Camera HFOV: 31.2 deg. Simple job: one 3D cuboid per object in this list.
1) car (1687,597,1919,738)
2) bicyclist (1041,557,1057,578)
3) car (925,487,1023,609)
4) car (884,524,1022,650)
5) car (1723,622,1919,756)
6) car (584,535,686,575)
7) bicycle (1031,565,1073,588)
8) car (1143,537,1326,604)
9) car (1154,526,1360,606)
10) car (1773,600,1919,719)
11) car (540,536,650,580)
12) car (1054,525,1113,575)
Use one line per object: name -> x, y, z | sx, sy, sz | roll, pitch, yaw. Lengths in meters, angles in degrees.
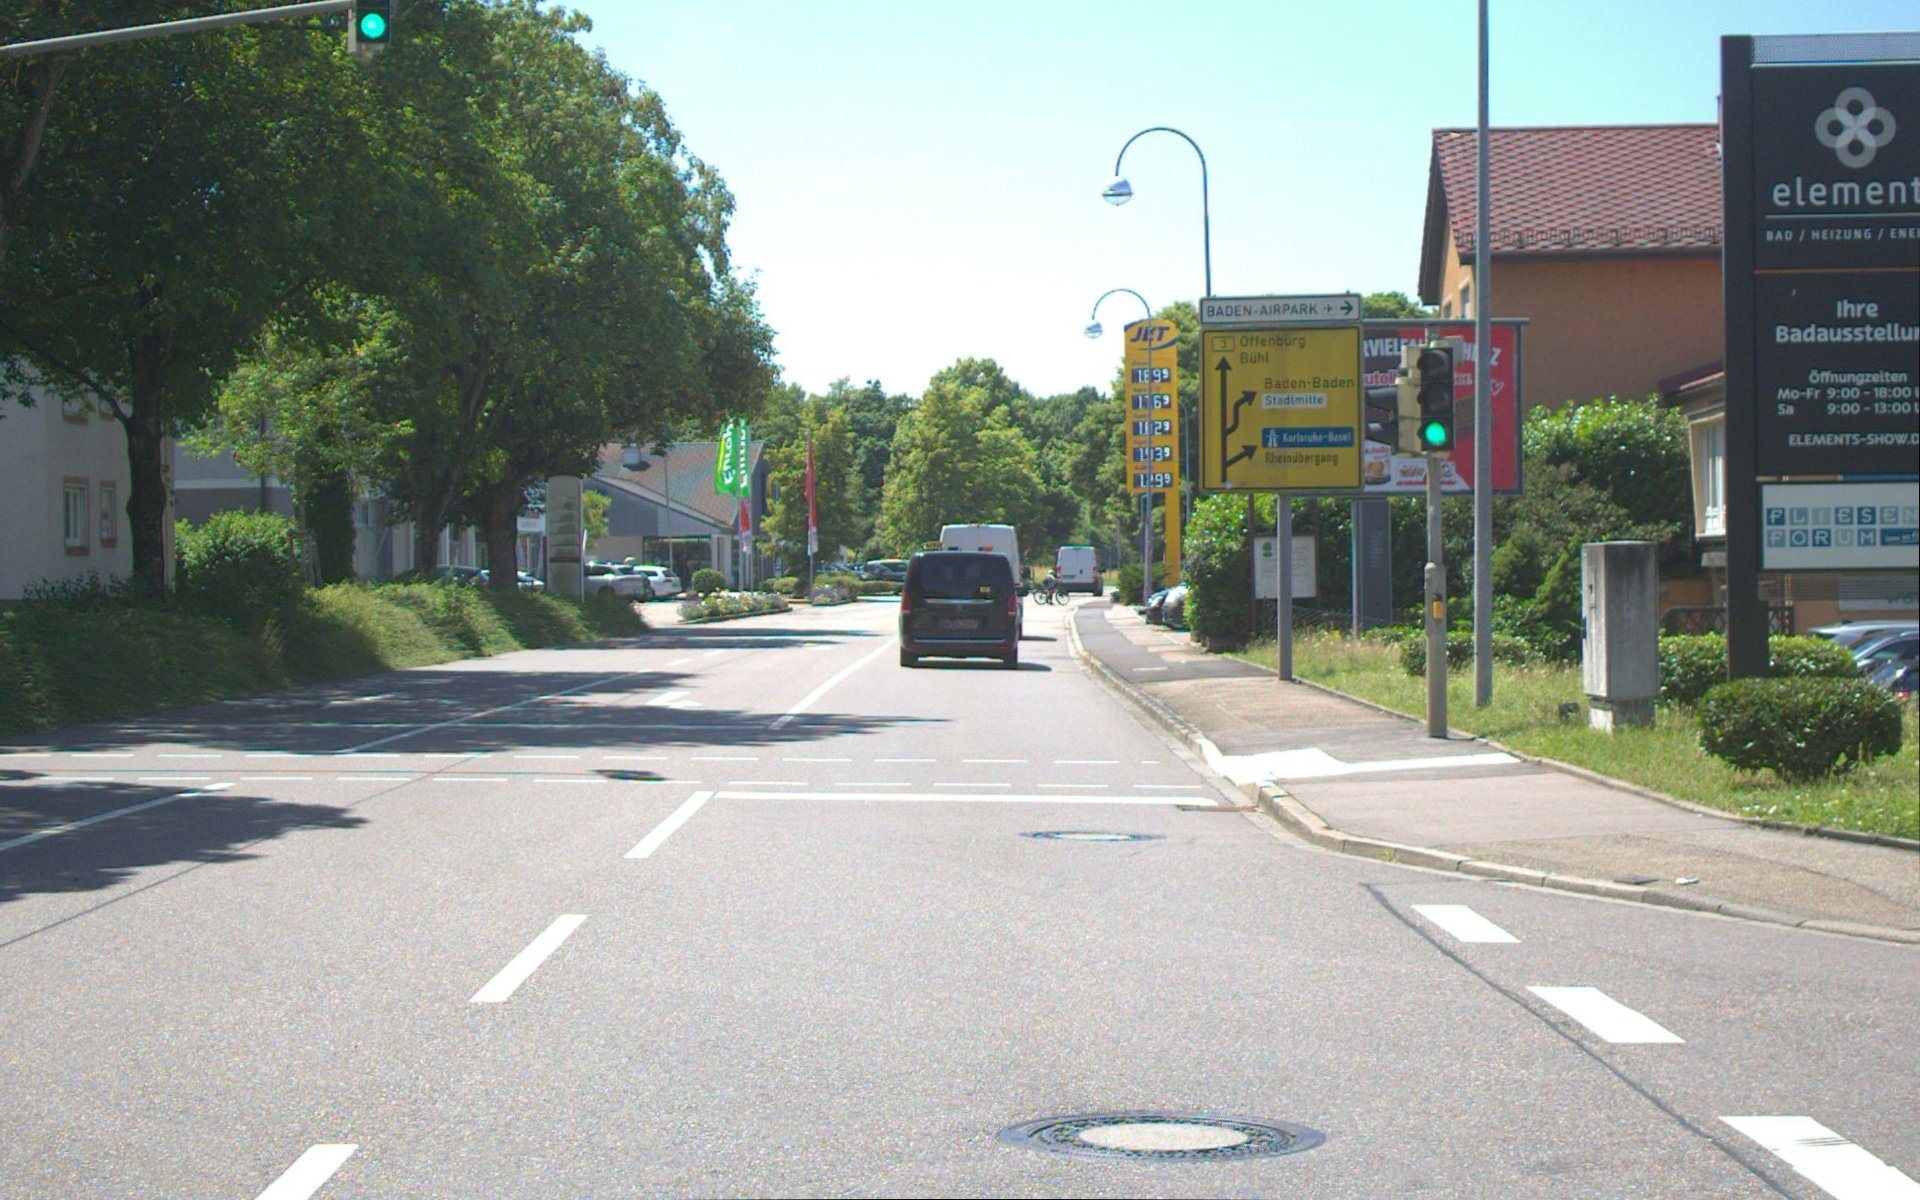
car -> 11.487, 0.845, 43.309 | 4.272, 1.641, 1.890 | 1, 2, 2
bicyclist -> 3.721, -1.351, 143.889 | 0.468, 0.850, 0.558 | -2, 4, -26
car -> 0.342, -1.246, 78.993 | 2.120, 2.668, 5.662 | 1, 2, 1
car -> -0.155, -0.246, 55.177 | 1.993, 1.886, 4.001 | 1, 2, -3
car -> 10.787, 1.034, 39.772 | 3.622, 1.412, 1.698 | 1, 2, 6
car -> -14.082, -1.956, 149.178 | 3.989, 1.656, 1.999 | 1, 2, 11
bicycle -> 3.848, -0.999, 143.970 | 1.715, 0.884, 0.558 | -2, 4, -26
car -> 6.633, -0.731, 83.362 | 4.156, 1.452, 1.907 | -2, 2, -4
car -> 6.974, -0.812, 80.988 | 4.556, 1.711, 2.000 | -2, 2, -3
car -> 13.821, 0.836, 48.806 | 4.261, 1.593, 1.889 | 0, 2, 8
car -> -15.008, -1.725, 141.420 | 4.045, 1.700, 1.901 | 2, 2, 18
car -> 6.491, -2.625, 179.611 | 2.353, 2.538, 4.954 | 1, 2, 10
